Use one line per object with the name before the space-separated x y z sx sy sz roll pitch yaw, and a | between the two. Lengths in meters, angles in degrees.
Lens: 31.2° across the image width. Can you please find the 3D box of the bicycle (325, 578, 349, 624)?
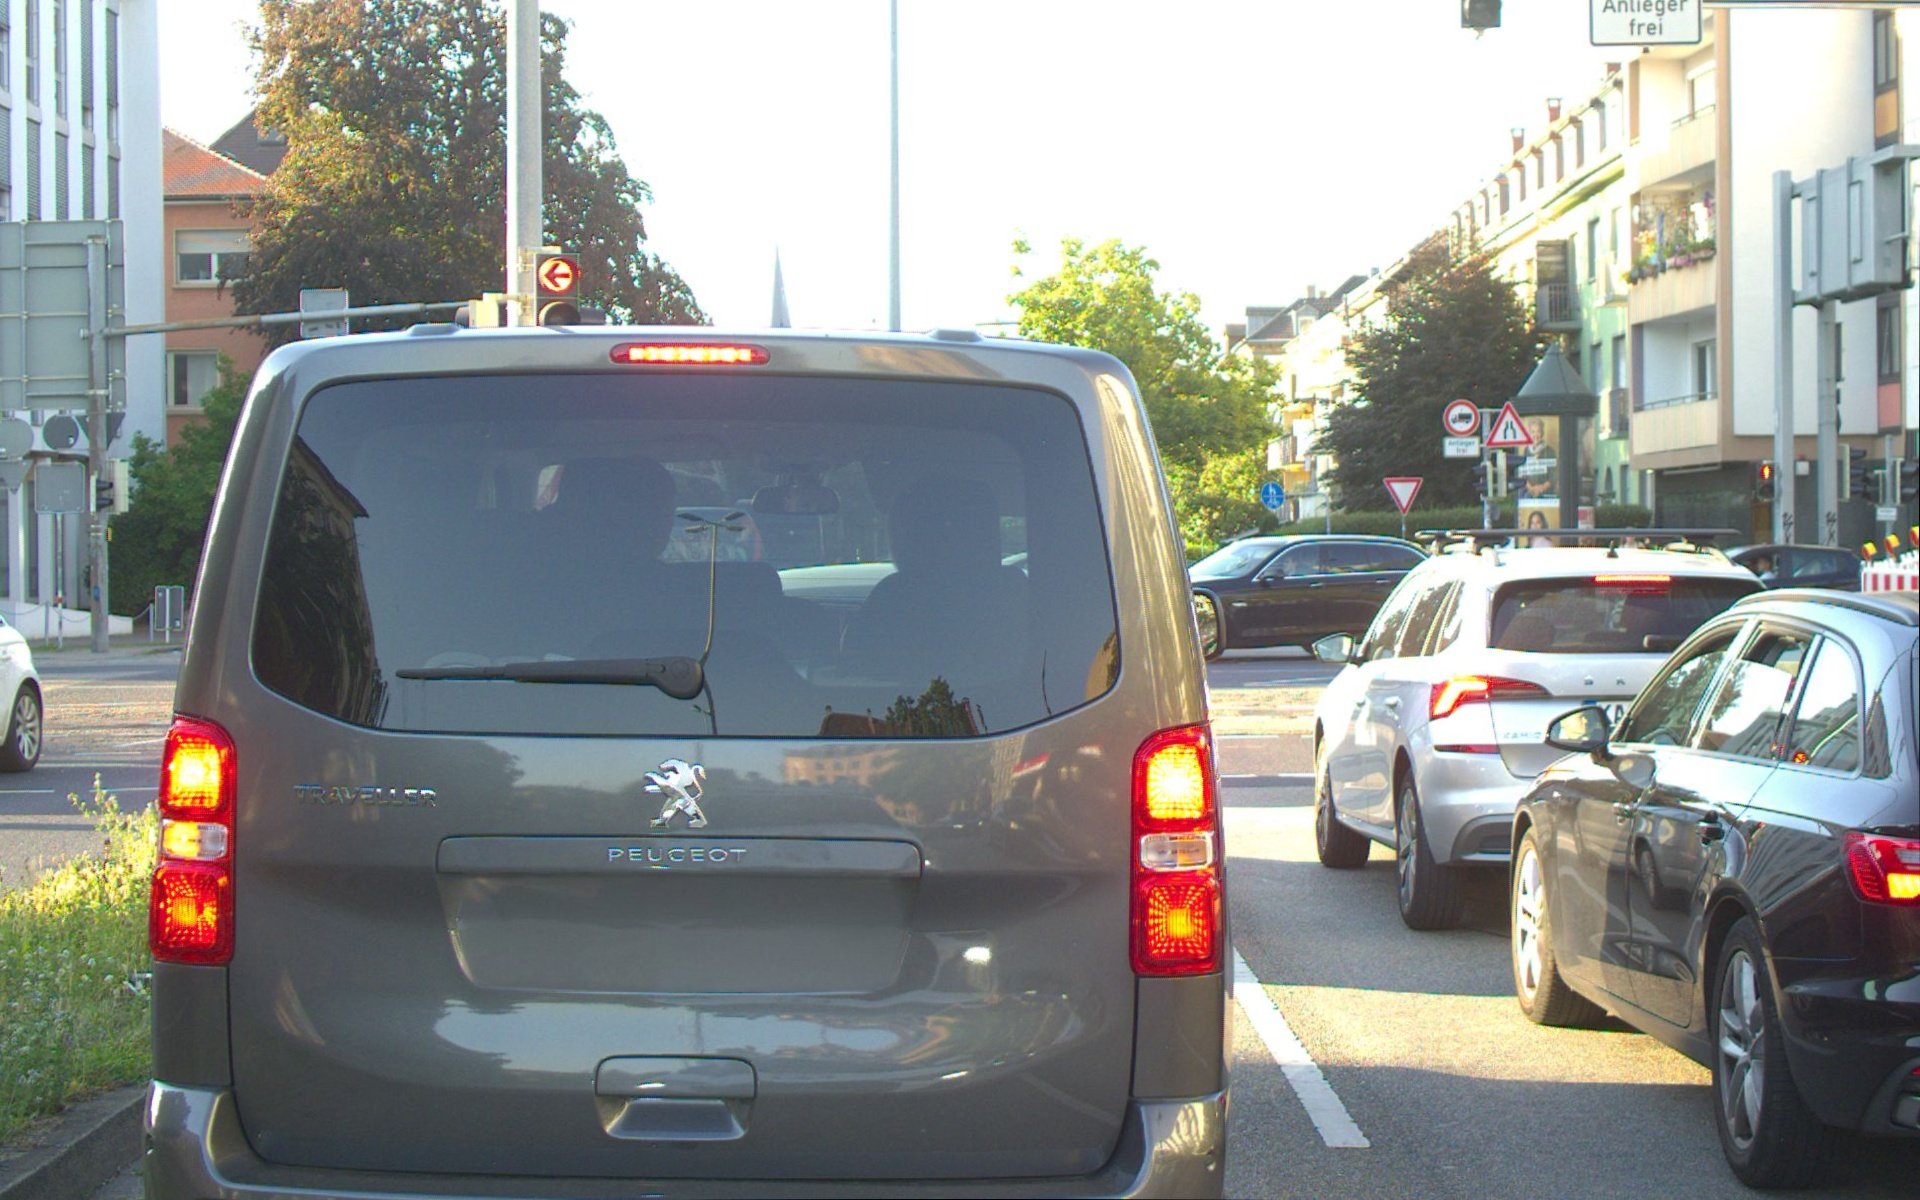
bicycle | -12.874 0.016 71.043 0.291 0.945 1.072 0 1 -1

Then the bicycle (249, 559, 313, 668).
bicycle | -12.773 0.233 64.729 0.715 2.007 2.564 0 1 -1

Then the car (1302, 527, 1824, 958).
car | 2.467 0.508 14.872 1.528 1.608 3.745 1 1 -1

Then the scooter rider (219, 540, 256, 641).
scooter rider | -12.256 -0.164 58.338 0.481 1.691 0.636 0 1 -1

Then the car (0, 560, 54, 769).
car | -7.299 0.469 22.136 1.691 1.383 3.686 -2 1 4

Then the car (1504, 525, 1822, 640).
car | 10.072 -0.249 49.409 4.117 1.588 1.795 -1 0 -5

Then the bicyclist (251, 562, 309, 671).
bicyclist | -12.821 0.305 64.813 0.834 2.007 1.064 1 0 1

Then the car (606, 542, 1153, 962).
car | -0.318 0.524 14.626 1.993 1.525 4.000 0 1 -1

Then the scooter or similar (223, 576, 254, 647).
scooter or similar | -12.262 0.188 58.423 0.285 1.184 1.169 0 1 -1

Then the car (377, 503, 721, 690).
car | -4.155 -0.073 35.490 1.995 1.811 4.226 0 1 16

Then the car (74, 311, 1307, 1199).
car | -0.453 0.455 7.646 1.907 1.857 4.527 1 1 -1

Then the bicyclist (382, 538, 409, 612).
bicyclist | -11.903 -0.524 72.560 0.477 1.550 0.509 0 1 -1

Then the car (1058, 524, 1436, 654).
car | 3.426 -0.155 40.847 4.228 1.437 1.703 -1 1 -29

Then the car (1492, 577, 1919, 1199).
car | 2.628 0.681 9.195 1.681 1.416 4.214 1 1 -1

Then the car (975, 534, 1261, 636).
car | 2.177 -0.217 47.931 3.781 1.368 1.651 -1 1 -6

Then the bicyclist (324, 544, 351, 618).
bicyclist | -12.858 -0.388 71.033 0.462 1.516 0.469 0 1 -1
